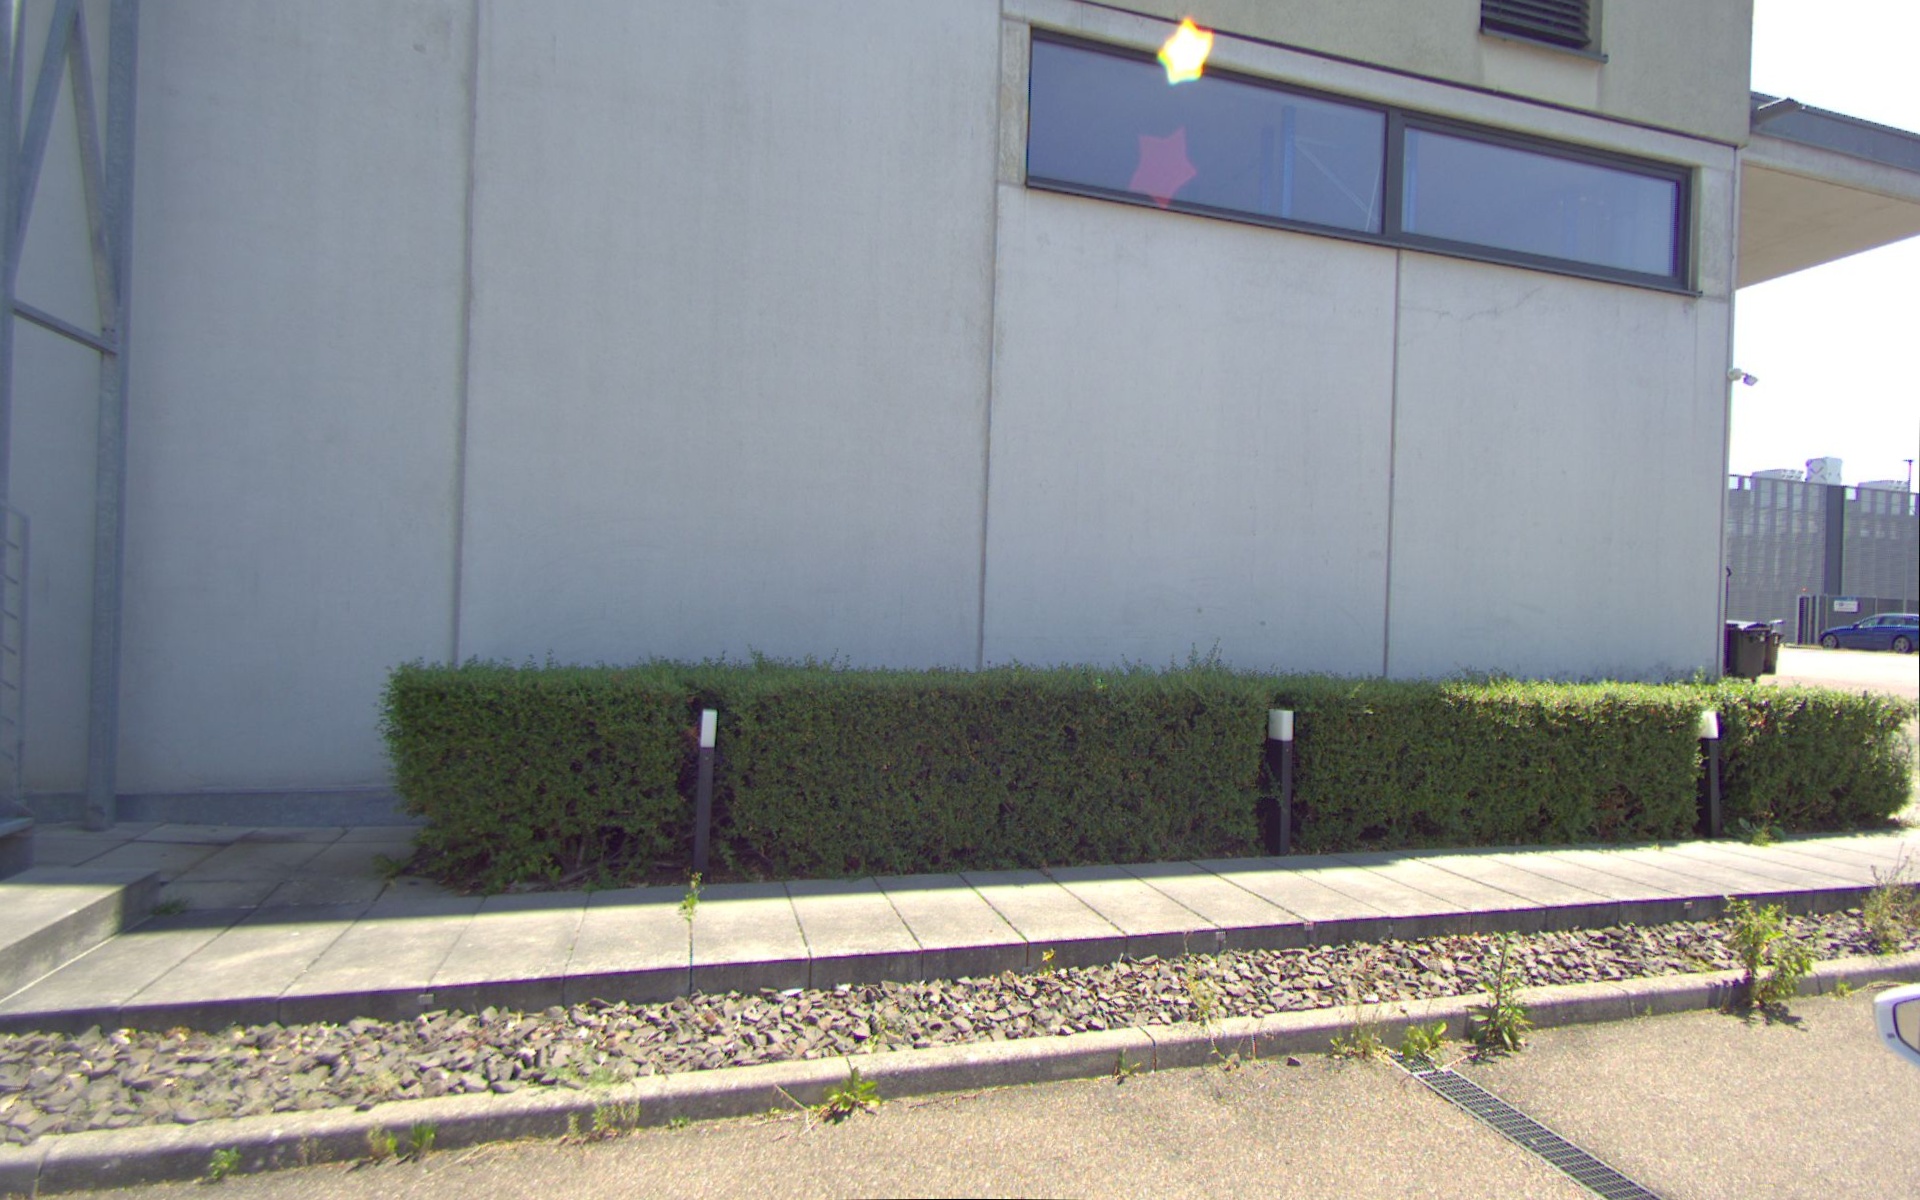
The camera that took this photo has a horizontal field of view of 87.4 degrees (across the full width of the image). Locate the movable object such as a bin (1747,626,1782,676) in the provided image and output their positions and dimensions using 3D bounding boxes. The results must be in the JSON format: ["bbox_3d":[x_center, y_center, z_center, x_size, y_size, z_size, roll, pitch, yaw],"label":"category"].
[{"bbox_3d":[17.512,1.100,21.859,0.570,1.050,0.423,2,0,41],"label":"movable object such as a bin"}]

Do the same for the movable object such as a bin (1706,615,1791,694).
[{"bbox_3d":[14.271,0.976,18.195,0.868,1.362,0.812,1,0,-11],"label":"movable object such as a bin"}]

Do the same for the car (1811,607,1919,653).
[{"bbox_3d":[34.417,1.077,37.140,1.961,1.511,4.513,1,1,-2],"label":"car"}]
